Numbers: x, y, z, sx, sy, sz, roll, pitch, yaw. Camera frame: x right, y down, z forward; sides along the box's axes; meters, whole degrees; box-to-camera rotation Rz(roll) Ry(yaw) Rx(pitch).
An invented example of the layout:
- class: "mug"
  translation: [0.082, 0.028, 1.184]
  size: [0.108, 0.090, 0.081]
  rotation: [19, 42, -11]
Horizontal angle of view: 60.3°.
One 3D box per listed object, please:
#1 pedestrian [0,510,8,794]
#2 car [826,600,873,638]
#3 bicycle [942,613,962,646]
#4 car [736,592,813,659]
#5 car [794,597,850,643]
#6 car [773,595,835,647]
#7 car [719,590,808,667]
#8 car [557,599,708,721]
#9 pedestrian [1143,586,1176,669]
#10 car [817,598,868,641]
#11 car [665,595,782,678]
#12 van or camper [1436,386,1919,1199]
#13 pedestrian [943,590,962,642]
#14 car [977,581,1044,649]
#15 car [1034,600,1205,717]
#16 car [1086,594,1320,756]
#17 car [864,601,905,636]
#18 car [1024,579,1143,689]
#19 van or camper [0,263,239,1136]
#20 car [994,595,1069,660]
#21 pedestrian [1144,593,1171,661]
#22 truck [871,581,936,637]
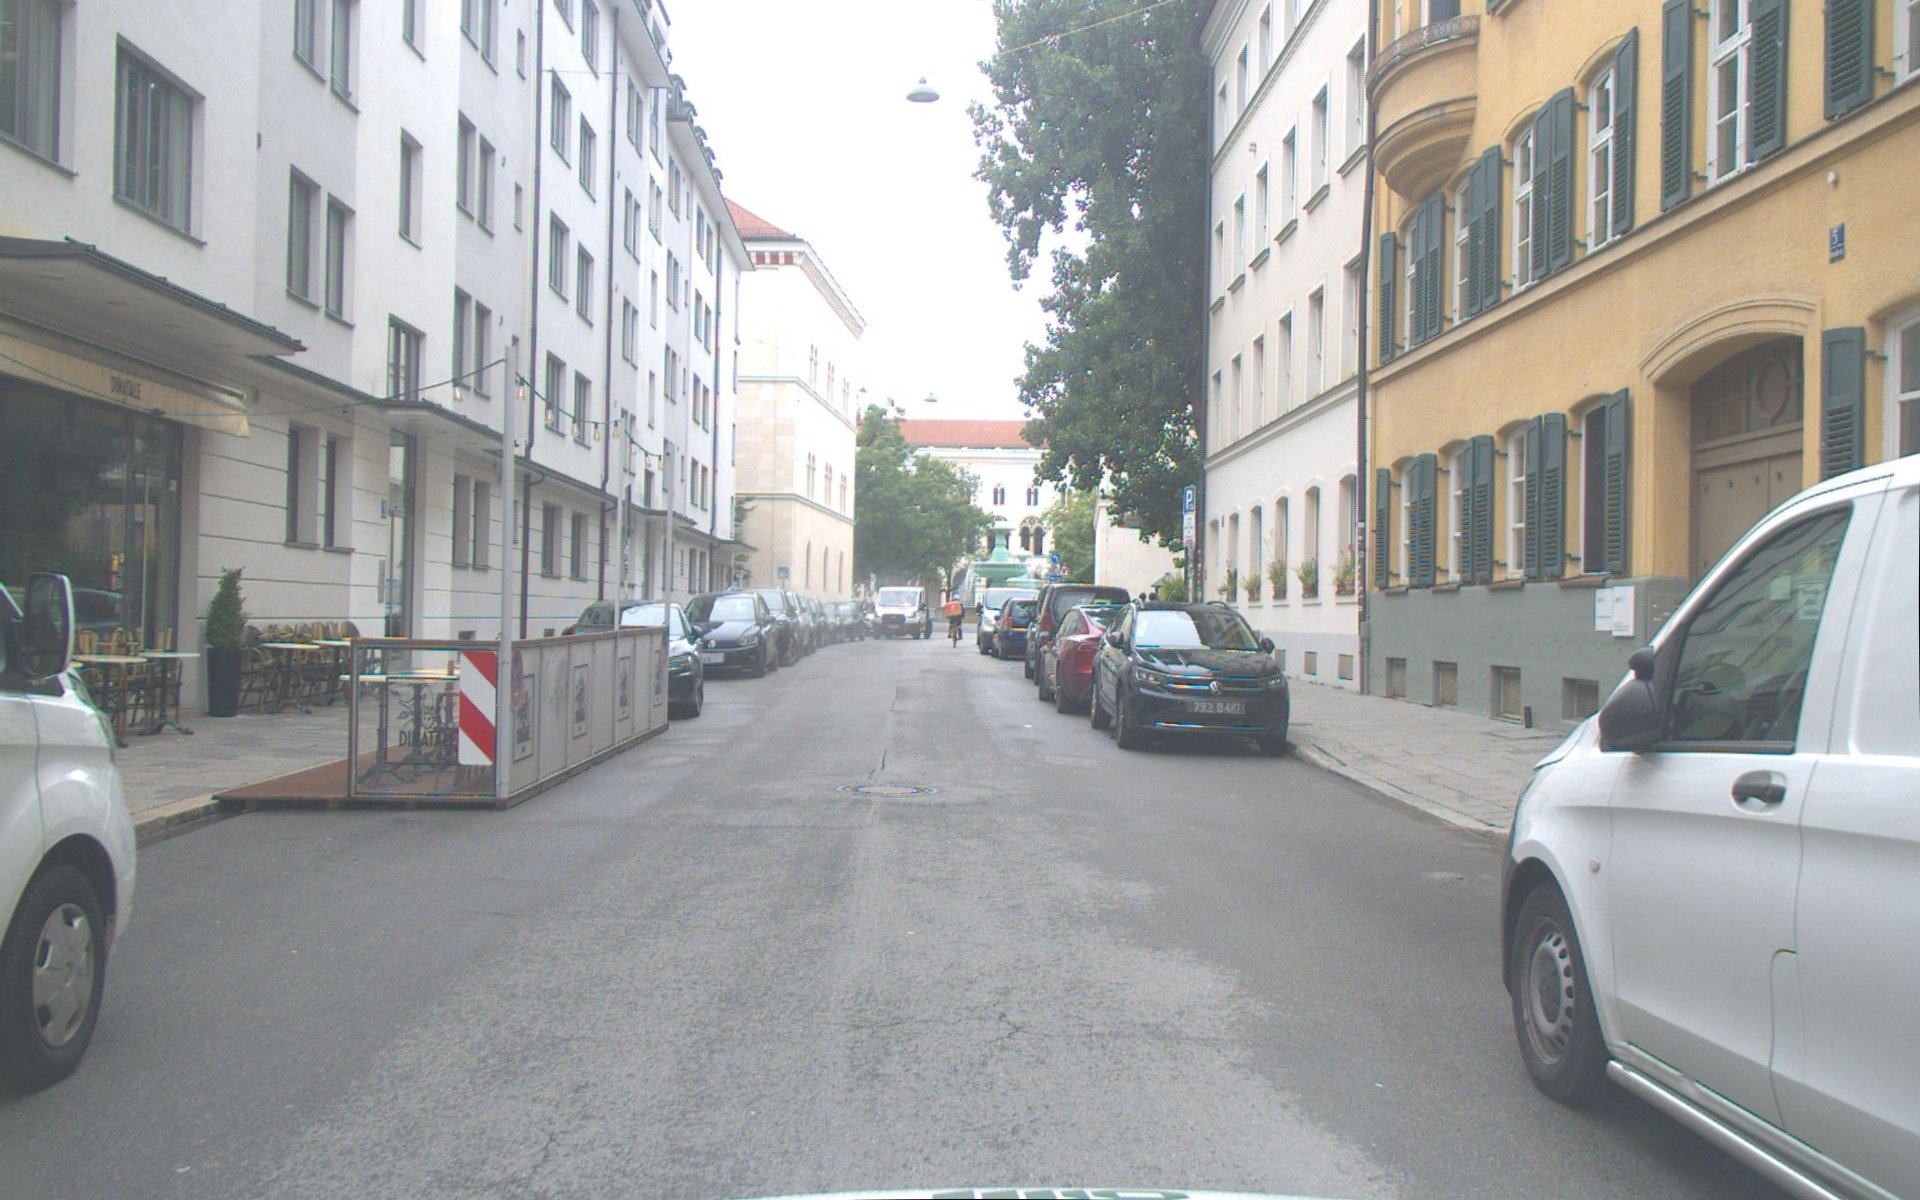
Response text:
- class: "pedestrian"
  translation: [-6.434, 0.325, 10.270]
  size: [0.580, 1.826, 0.740]
  rotation: [1, -1, -2]
- class: "car"
  translation: [-4.720, 0.800, 70.963]
  size: [1.671, 1.609, 3.863]
  rotation: [0, 0, 1]
- class: "bicycle"
  translation: [-0.286, 1.006, 56.759]
  size: [0.662, 1.114, 1.760]
  rotation: [1, -1, -1]
- class: "car"
  translation: [-4.697, 0.630, 42.336]
  size: [1.672, 1.637, 3.861]
  rotation: [0, 0, -2]
- class: "car"
  translation: [-4.950, 0.709, 59.885]
  size: [1.671, 1.637, 3.863]
  rotation: [0, 0, 1]
- class: "car"
  translation: [-5.084, 0.661, 54.324]
  size: [1.671, 1.637, 3.863]
  rotation: [0, 0, 0]
- class: "car"
  translation: [-4.348, 0.608, 37.034]
  size: [1.672, 1.637, 3.861]
  rotation: [0, 0, -2]
- class: "car"
  translation: [-4.167, 0.709, 21.565]
  size: [1.729, 1.435, 4.147]
  rotation: [0, 0, -9]
- class: "pedestrian"
  translation: [4.937, 0.671, 40.987]
  size: [0.656, 2.015, 0.708]
  rotation: [-2, -1, -1]
- class: "car"
  translation: [-4.580, 0.730, 64.885]
  size: [1.671, 1.637, 3.863]
  rotation: [0, 0, 1]
- class: "car"
  translation: [-4.410, 0.649, 31.292]
  size: [1.781, 1.470, 3.816]
  rotation: [0, 0, -2]
- class: "van or camper"
  translation: [2.742, 0.556, 3.672]
  size: [1.796, 1.904, 5.078]
  rotation: [1, 0, -1]
- class: "pedestrian"
  translation: [-0.266, 0.553, 56.737]
  size: [0.629, 1.744, 0.842]
  rotation: [1, -1, -1]
- class: "car"
  translation: [1.496, 0.456, 50.306]
  size: [1.814, 1.953, 4.768]
  rotation: [1, 0, -1]
- class: "car"
  translation: [2.164, 0.770, 23.528]
  size: [1.776, 1.449, 4.244]
  rotation: [2, 0, -3]
- class: "car"
  translation: [2.501, 0.735, 18.031]
  size: [1.775, 1.490, 4.245]
  rotation: [2, 0, -2]
- class: "car"
  translation: [-3.606, 0.871, 79.570]
  size: [1.671, 1.609, 3.863]
  rotation: [0, 0, 1]
- class: "car"
  translation: [2.214, 0.591, 30.658]
  size: [1.775, 1.829, 4.246]
  rotation: [2, 0, -1]
- class: "van or camper"
  translation: [-3.361, 0.253, 3.226]
  size: [1.719, 2.321, 5.271]
  rotation: [1, 0, -2]
- class: "car"
  translation: [1.881, 0.720, 44.543]
  size: [1.775, 1.642, 4.155]
  rotation: [1, 0, -1]
- class: "pedestrian"
  translation: [6.010, 0.818, 50.424]
  size: [0.656, 2.015, 0.708]
  rotation: [-2, -1, -1]
- class: "truck"
  translation: [-2.402, 0.427, 71.966]
  size: [2.076, 2.287, 6.188]
  rotation: [1, -1, 5]
